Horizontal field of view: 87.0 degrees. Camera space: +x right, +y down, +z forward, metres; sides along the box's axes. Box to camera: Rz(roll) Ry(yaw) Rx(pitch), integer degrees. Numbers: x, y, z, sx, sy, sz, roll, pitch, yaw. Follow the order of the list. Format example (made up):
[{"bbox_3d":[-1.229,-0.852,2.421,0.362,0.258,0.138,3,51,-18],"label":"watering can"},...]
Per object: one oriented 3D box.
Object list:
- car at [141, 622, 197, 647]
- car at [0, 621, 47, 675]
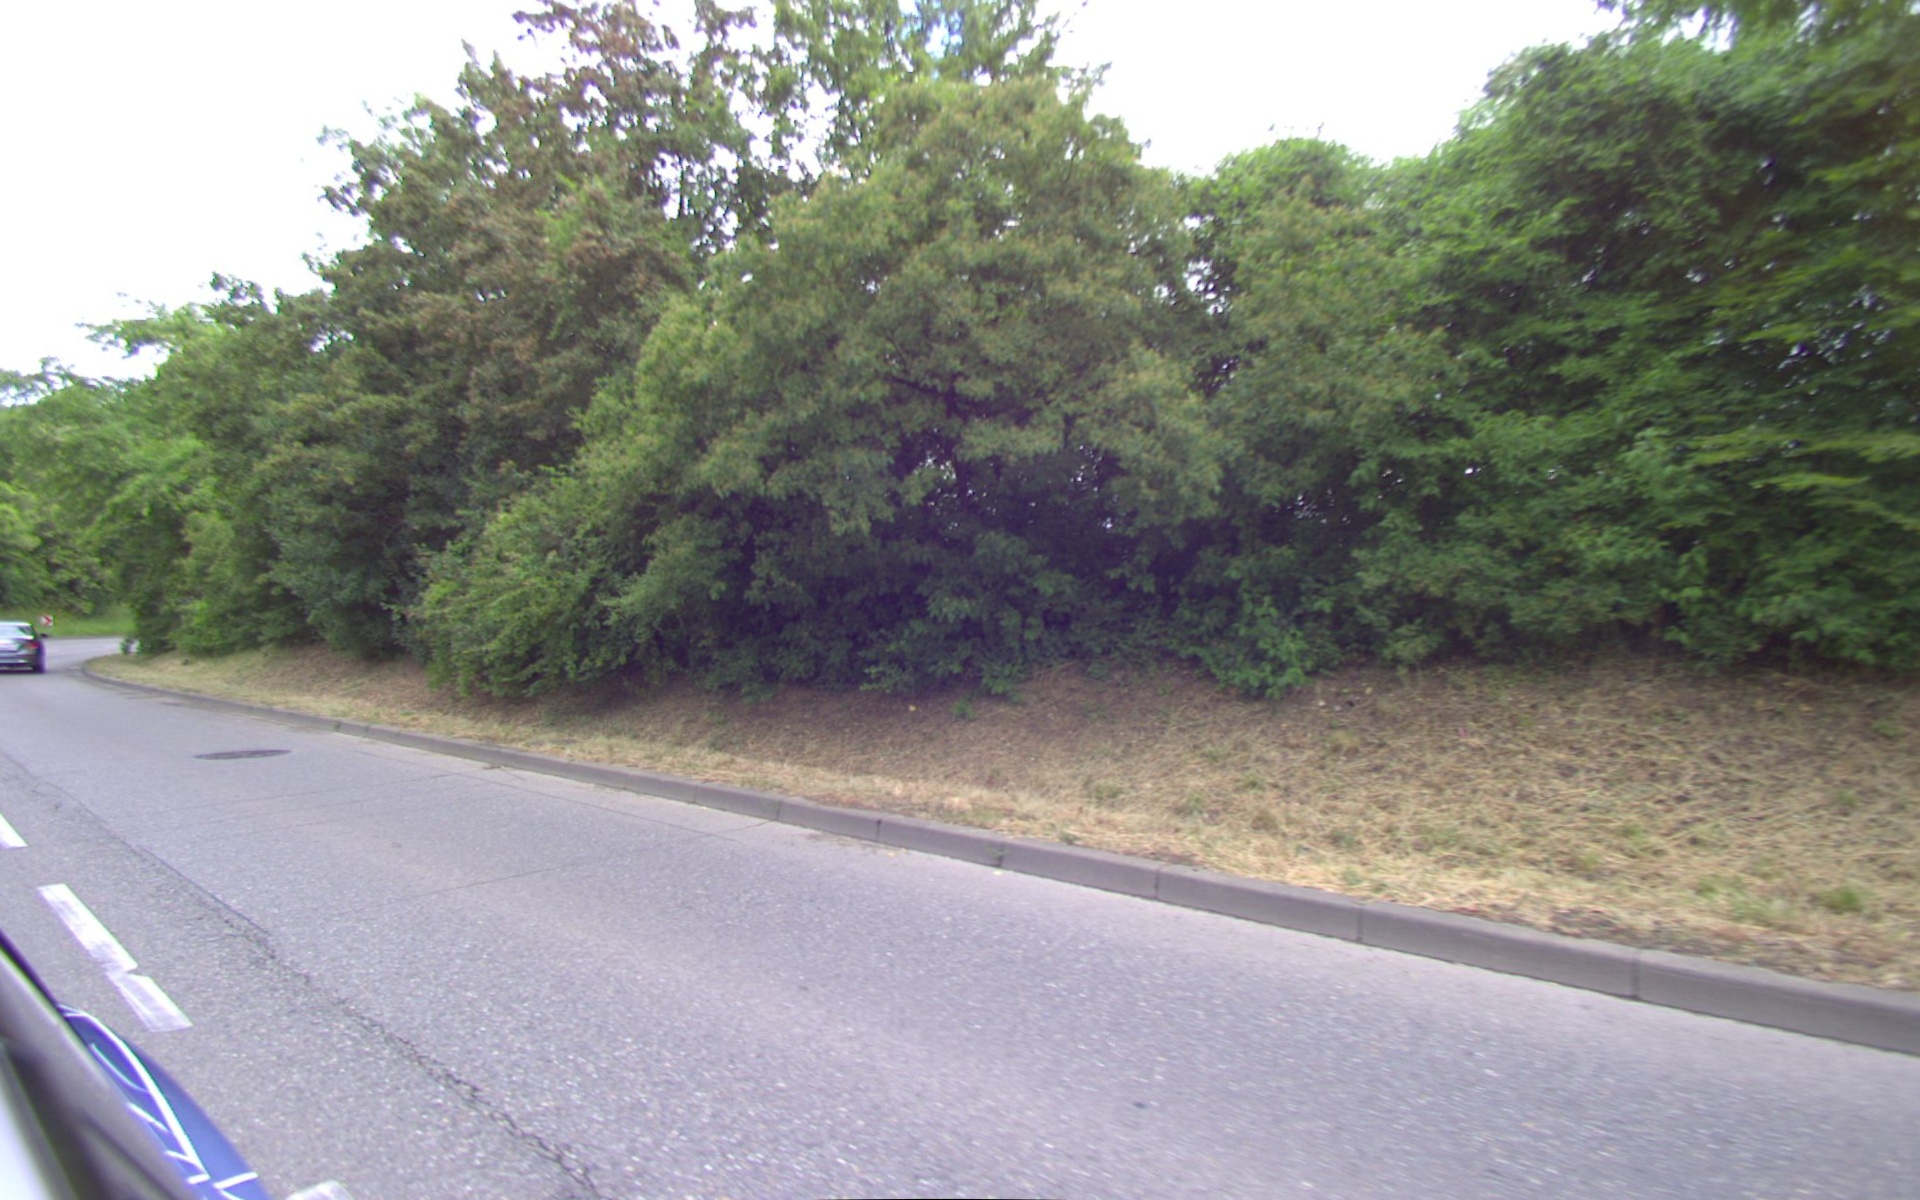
[{"bbox_3d":[-46.157,2.006,59.113,1.610,1.416,3.609,1,-2,-21],"label":"car"},{"bbox_3d":[-27.384,1.343,28.813,1.808,1.416,4.439,-2,0,-39],"label":"car"}]
